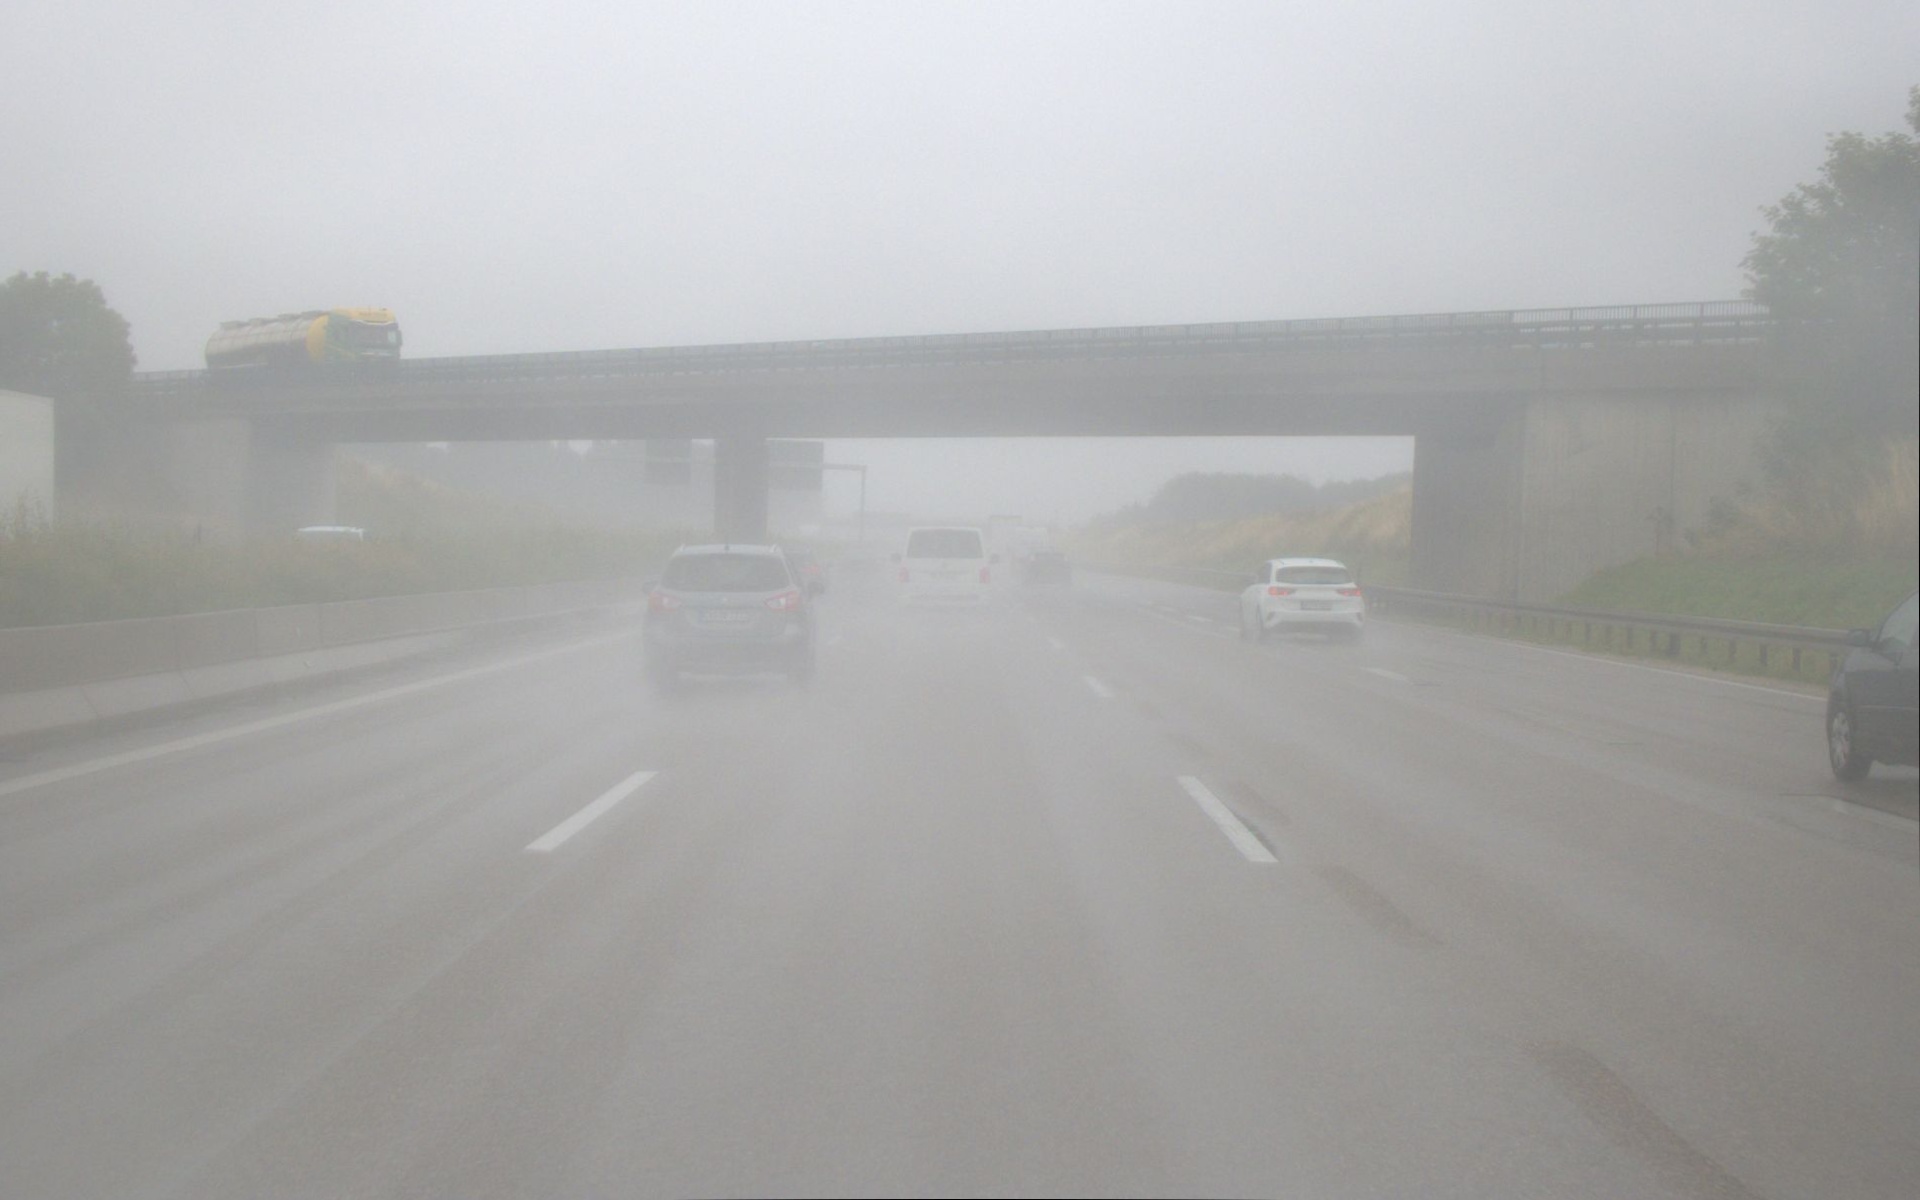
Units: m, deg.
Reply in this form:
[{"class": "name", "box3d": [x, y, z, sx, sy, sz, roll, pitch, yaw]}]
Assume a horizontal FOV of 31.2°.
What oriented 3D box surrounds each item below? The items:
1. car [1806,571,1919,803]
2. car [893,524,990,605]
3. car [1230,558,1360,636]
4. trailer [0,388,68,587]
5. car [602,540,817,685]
[{"class": "car", "box3d": [6.825, 0.557, 22.038, 1.731, 1.416, 3.658, 1, 1, -3]}, {"class": "car", "box3d": [-0.357, -0.716, 70.153, 1.897, 1.580, 4.000, 1, 0, 0]}, {"class": "car", "box3d": [5.772, -0.060, 59.614, 1.994, 1.262, 4.000, 1, 0, 2]}, {"class": "trailer", "box3d": [-19.103, -2.085, 62.836, 1.993, 3.752, 13.860, 0, 1, 0]}, {"class": "car", "box3d": [-2.728, 0.100, 38.429, 1.846, 1.508, 4.756, 1, 1, 3]}]
